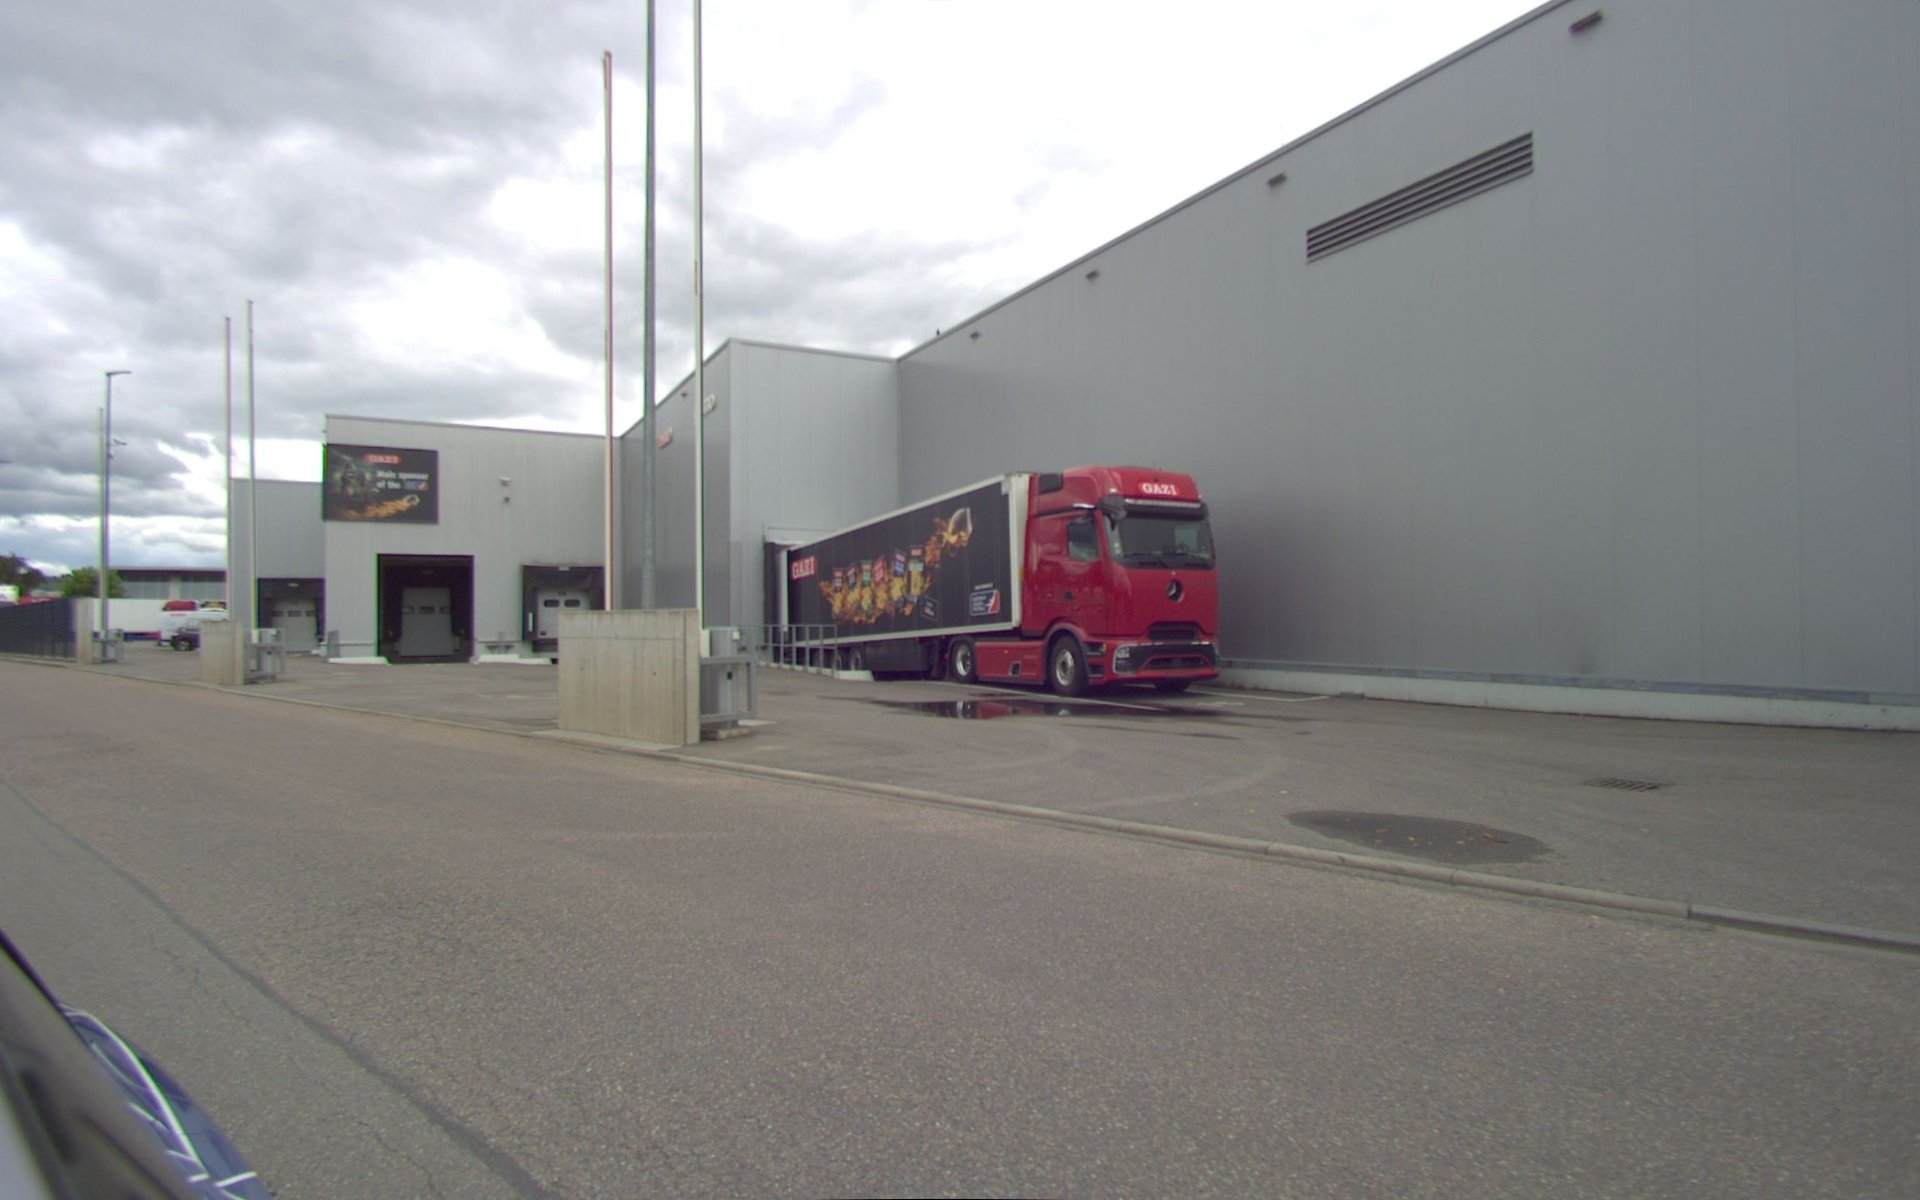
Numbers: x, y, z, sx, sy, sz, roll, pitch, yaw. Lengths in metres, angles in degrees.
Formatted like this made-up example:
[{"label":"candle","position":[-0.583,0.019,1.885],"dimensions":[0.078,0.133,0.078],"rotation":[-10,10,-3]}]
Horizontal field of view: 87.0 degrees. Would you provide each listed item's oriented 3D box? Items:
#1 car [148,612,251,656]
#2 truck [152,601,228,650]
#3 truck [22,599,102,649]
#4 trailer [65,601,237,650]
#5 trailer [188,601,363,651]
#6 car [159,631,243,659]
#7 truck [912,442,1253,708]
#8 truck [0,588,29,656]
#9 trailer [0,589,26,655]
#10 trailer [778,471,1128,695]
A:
[{"label":"car","position":[-51.650,2.305,68.857],"dimensions":[5.342,2.751,2.248],"rotation":[-2,-1,-31]},{"label":"truck","position":[-68.535,2.291,90.213],"dimensions":[4.797,4.237,3.058],"rotation":[2,-3,-27]},{"label":"truck","position":[-79.016,2.171,89.060],"dimensions":[3.047,4.164,4.815],"rotation":[-2,-4,41]},{"label":"trailer","position":[-73.931,2.431,92.941],"dimensions":[11.842,4.164,3.057],"rotation":[2,-3,-31]},{"label":"trailer","position":[-62.669,2.486,93.214],"dimensions":[12.962,4.245,3.058],"rotation":[2,-3,-27]},{"label":"car","position":[-48.683,2.887,65.007],"dimensions":[4.011,1.589,1.950],"rotation":[-2,-1,-28]},{"label":"truck","position":[1.904,-0.296,19.208],"dimensions":[2.704,4.061,7.114],"rotation":[0,-1,-29]},{"label":"truck","position":[-61.074,1.405,63.600],"dimensions":[5.629,4.192,3.321],"rotation":[-2,-4,44]},{"label":"trailer","position":[-66.060,1.564,68.512],"dimensions":[13.853,4.192,3.321],"rotation":[-2,-4,45]},{"label":"trailer","position":[-1.020,-0.142,24.553],"dimensions":[2.704,4.061,12.656],"rotation":[0,-1,-29]}]
